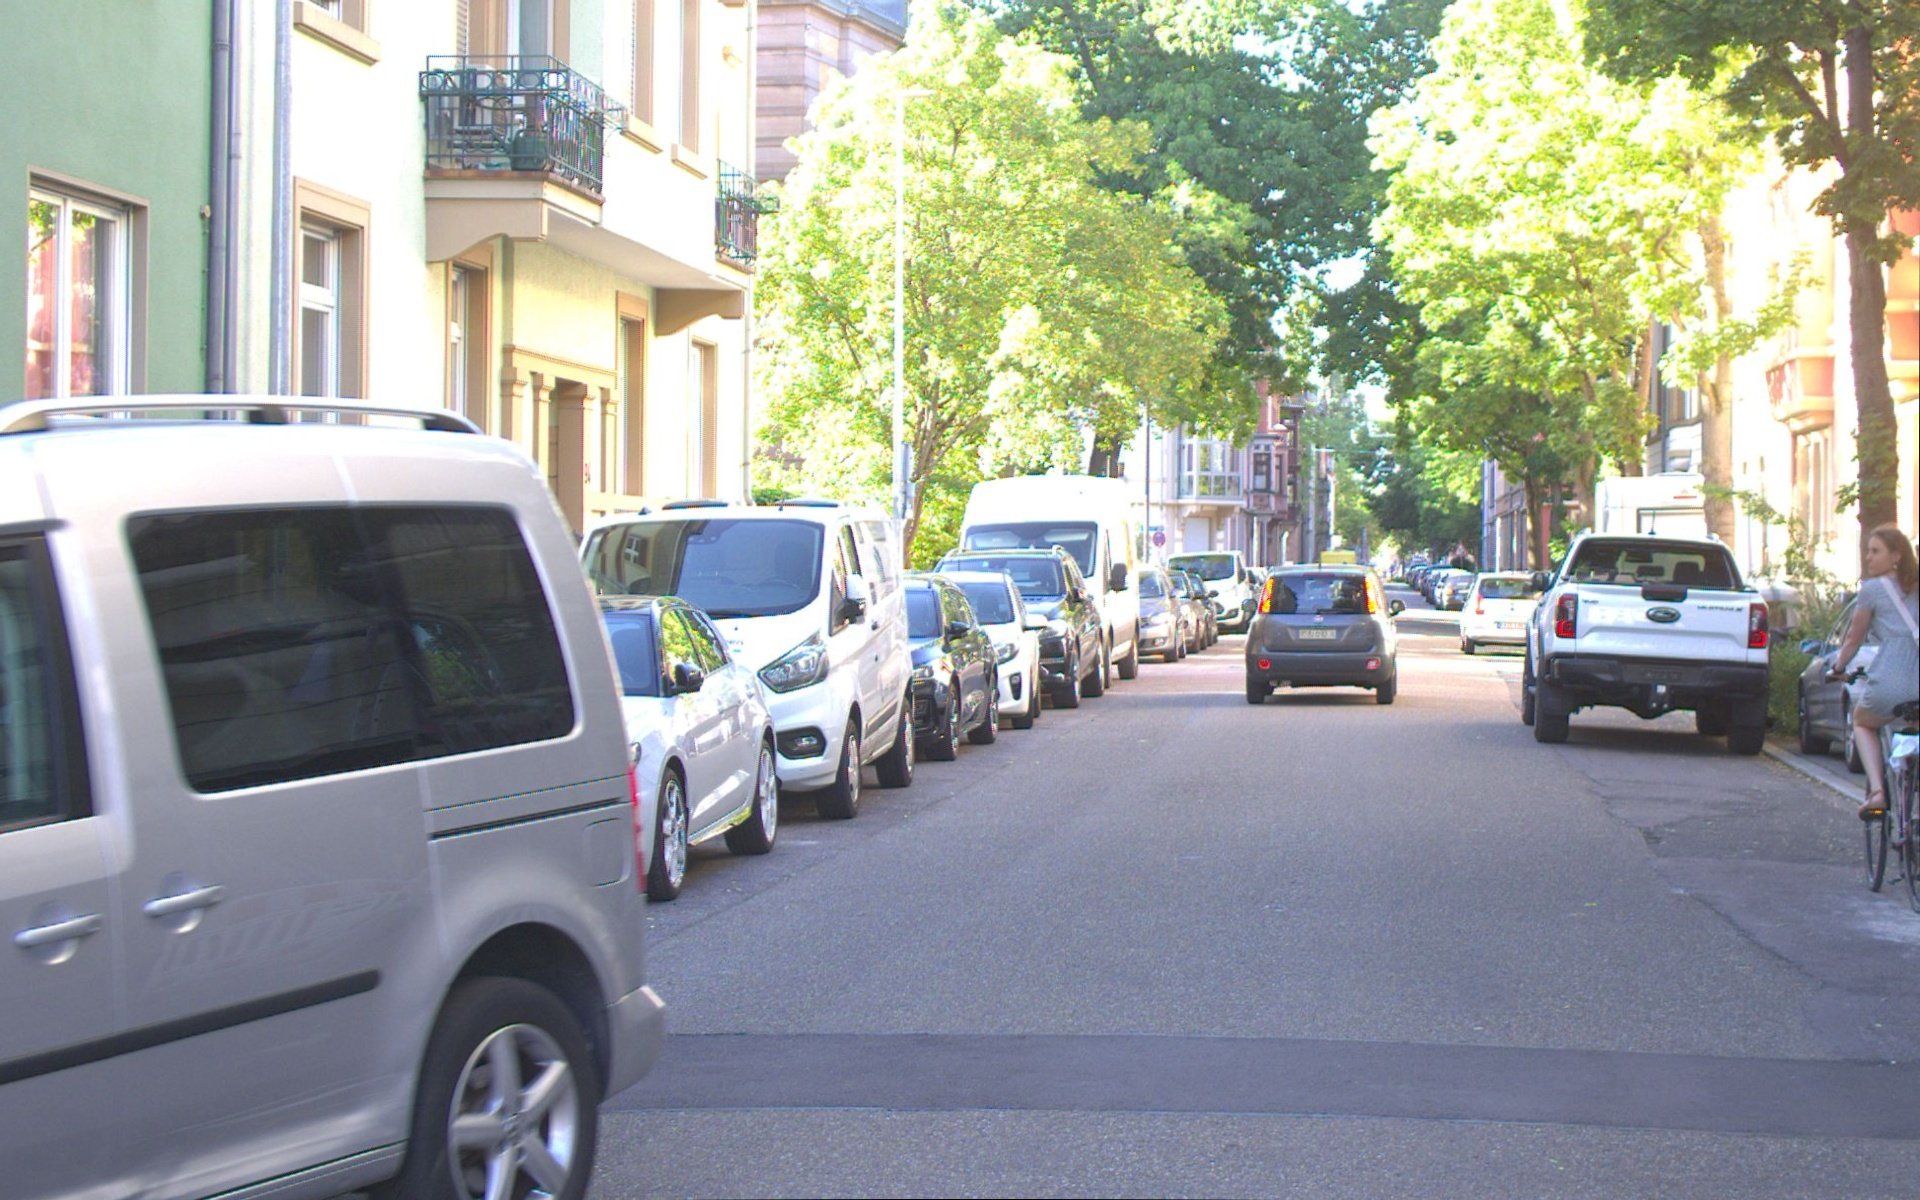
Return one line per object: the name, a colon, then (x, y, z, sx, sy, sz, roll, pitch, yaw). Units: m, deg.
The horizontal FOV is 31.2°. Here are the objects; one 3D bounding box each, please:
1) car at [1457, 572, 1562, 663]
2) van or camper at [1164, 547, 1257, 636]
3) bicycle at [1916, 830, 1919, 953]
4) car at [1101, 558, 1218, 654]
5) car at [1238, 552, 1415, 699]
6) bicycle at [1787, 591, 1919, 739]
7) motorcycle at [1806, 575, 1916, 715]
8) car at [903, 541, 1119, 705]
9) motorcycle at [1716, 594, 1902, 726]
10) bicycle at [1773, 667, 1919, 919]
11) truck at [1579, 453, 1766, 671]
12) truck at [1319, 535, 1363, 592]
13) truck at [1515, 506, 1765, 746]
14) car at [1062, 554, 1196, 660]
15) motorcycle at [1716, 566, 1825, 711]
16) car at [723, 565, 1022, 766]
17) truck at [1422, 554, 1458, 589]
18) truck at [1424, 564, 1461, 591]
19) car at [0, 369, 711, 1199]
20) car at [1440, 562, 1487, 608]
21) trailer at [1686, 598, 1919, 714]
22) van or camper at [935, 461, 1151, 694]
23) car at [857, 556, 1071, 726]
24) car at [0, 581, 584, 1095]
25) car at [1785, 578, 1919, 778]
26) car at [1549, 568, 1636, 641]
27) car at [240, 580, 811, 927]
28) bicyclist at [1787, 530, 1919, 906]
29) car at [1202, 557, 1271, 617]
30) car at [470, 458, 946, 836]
car: (9.970, 0.297, 62.538, 1.679, 1.539, 3.799, 2, 1, 7)
van or camper: (5.997, -0.218, 81.909, 1.922, 1.973, 5.460, -2, 0, 6)
bicycle: (4.322, 0.974, 13.672, 0.739, 1.056, 1.857, 2, 0, 8)
car: (3.587, 0.081, 61.222, 1.676, 1.567, 4.150, -2, 0, 8)
car: (4.108, 0.246, 38.234, 1.633, 1.545, 3.263, 0, 1, 12)
bicycle: (8.422, 0.586, 31.073, 1.759, 1.301, 0.586, 1, 1, 6)
motorcycle: (9.567, 0.453, 36.575, 0.861, 1.411, 2.233, 2, 1, 8)
car: (0.643, 0.208, 38.599, 1.876, 1.680, 4.968, -1, 1, 7)
motorcycle: (8.256, 0.577, 33.424, 1.759, 1.236, 0.702, 1, 1, -32)
bicycle: (4.355, 0.882, 16.086, 0.706, 1.042, 1.858, 4, 1, 4)
truck: (10.459, -0.562, 50.868, 2.074, 2.958, 6.107, -2, 1, 7)
truck: (20.627, -1.986, 185.926, 2.071, 2.916, 5.066, -3, 0, 8)
truck: (6.052, 0.173, 31.126, 1.829, 1.942, 5.539, 1, 1, 8)
car: (2.753, 0.079, 55.075, 1.781, 1.585, 4.468, -2, 0, 7)
motorcycle: (8.629, 0.387, 36.675, 0.930, 1.481, 2.137, 1, 1, 9)
car: (-0.634, 0.484, 28.860, 1.767, 1.516, 4.823, 0, 1, 7)
truck: (27.763, -1.643, 198.770, 1.994, 1.985, 3.999, 1, 1, 7)
truck: (27.114, -1.258, 193.432, 1.994, 1.452, 3.999, 1, 1, 7)
car: (-2.411, 0.542, 6.315, 1.774, 1.837, 4.409, -1, 0, 28)
car: (19.120, -0.575, 130.557, 1.663, 1.663, 3.756, 2, 1, 8)
trailer: (8.538, 0.562, 34.753, 2.080, 1.108, 1.116, 1, 1, -6)
van or camper: (1.154, -0.305, 44.345, 2.129, 2.760, 5.850, -1, 0, 7)
car: (0.098, 0.374, 33.558, 1.635, 1.546, 4.088, 0, 0, 7)
car: (-2.637, 0.694, 12.269, 1.720, 1.457, 4.506, -2, 0, 5)
car: (7.656, 0.557, 27.211, 1.680, 1.417, 4.429, -1, 1, 7)
car: (13.177, 0.073, 71.729, 1.597, 1.483, 3.747, 0, 0, 8)
car: (-2.010, 0.665, 17.253, 1.833, 1.457, 4.362, -2, 0, 6)
bicyclist: (4.355, 0.538, 16.056, 0.715, 1.683, 0.981, 3, 1, 4)
car: (7.875, -0.382, 97.616, 1.825, 1.549, 4.133, -3, 0, 5)
car: (-1.505, 0.261, 22.869, 2.252, 2.161, 5.242, -2, 0, 5)
